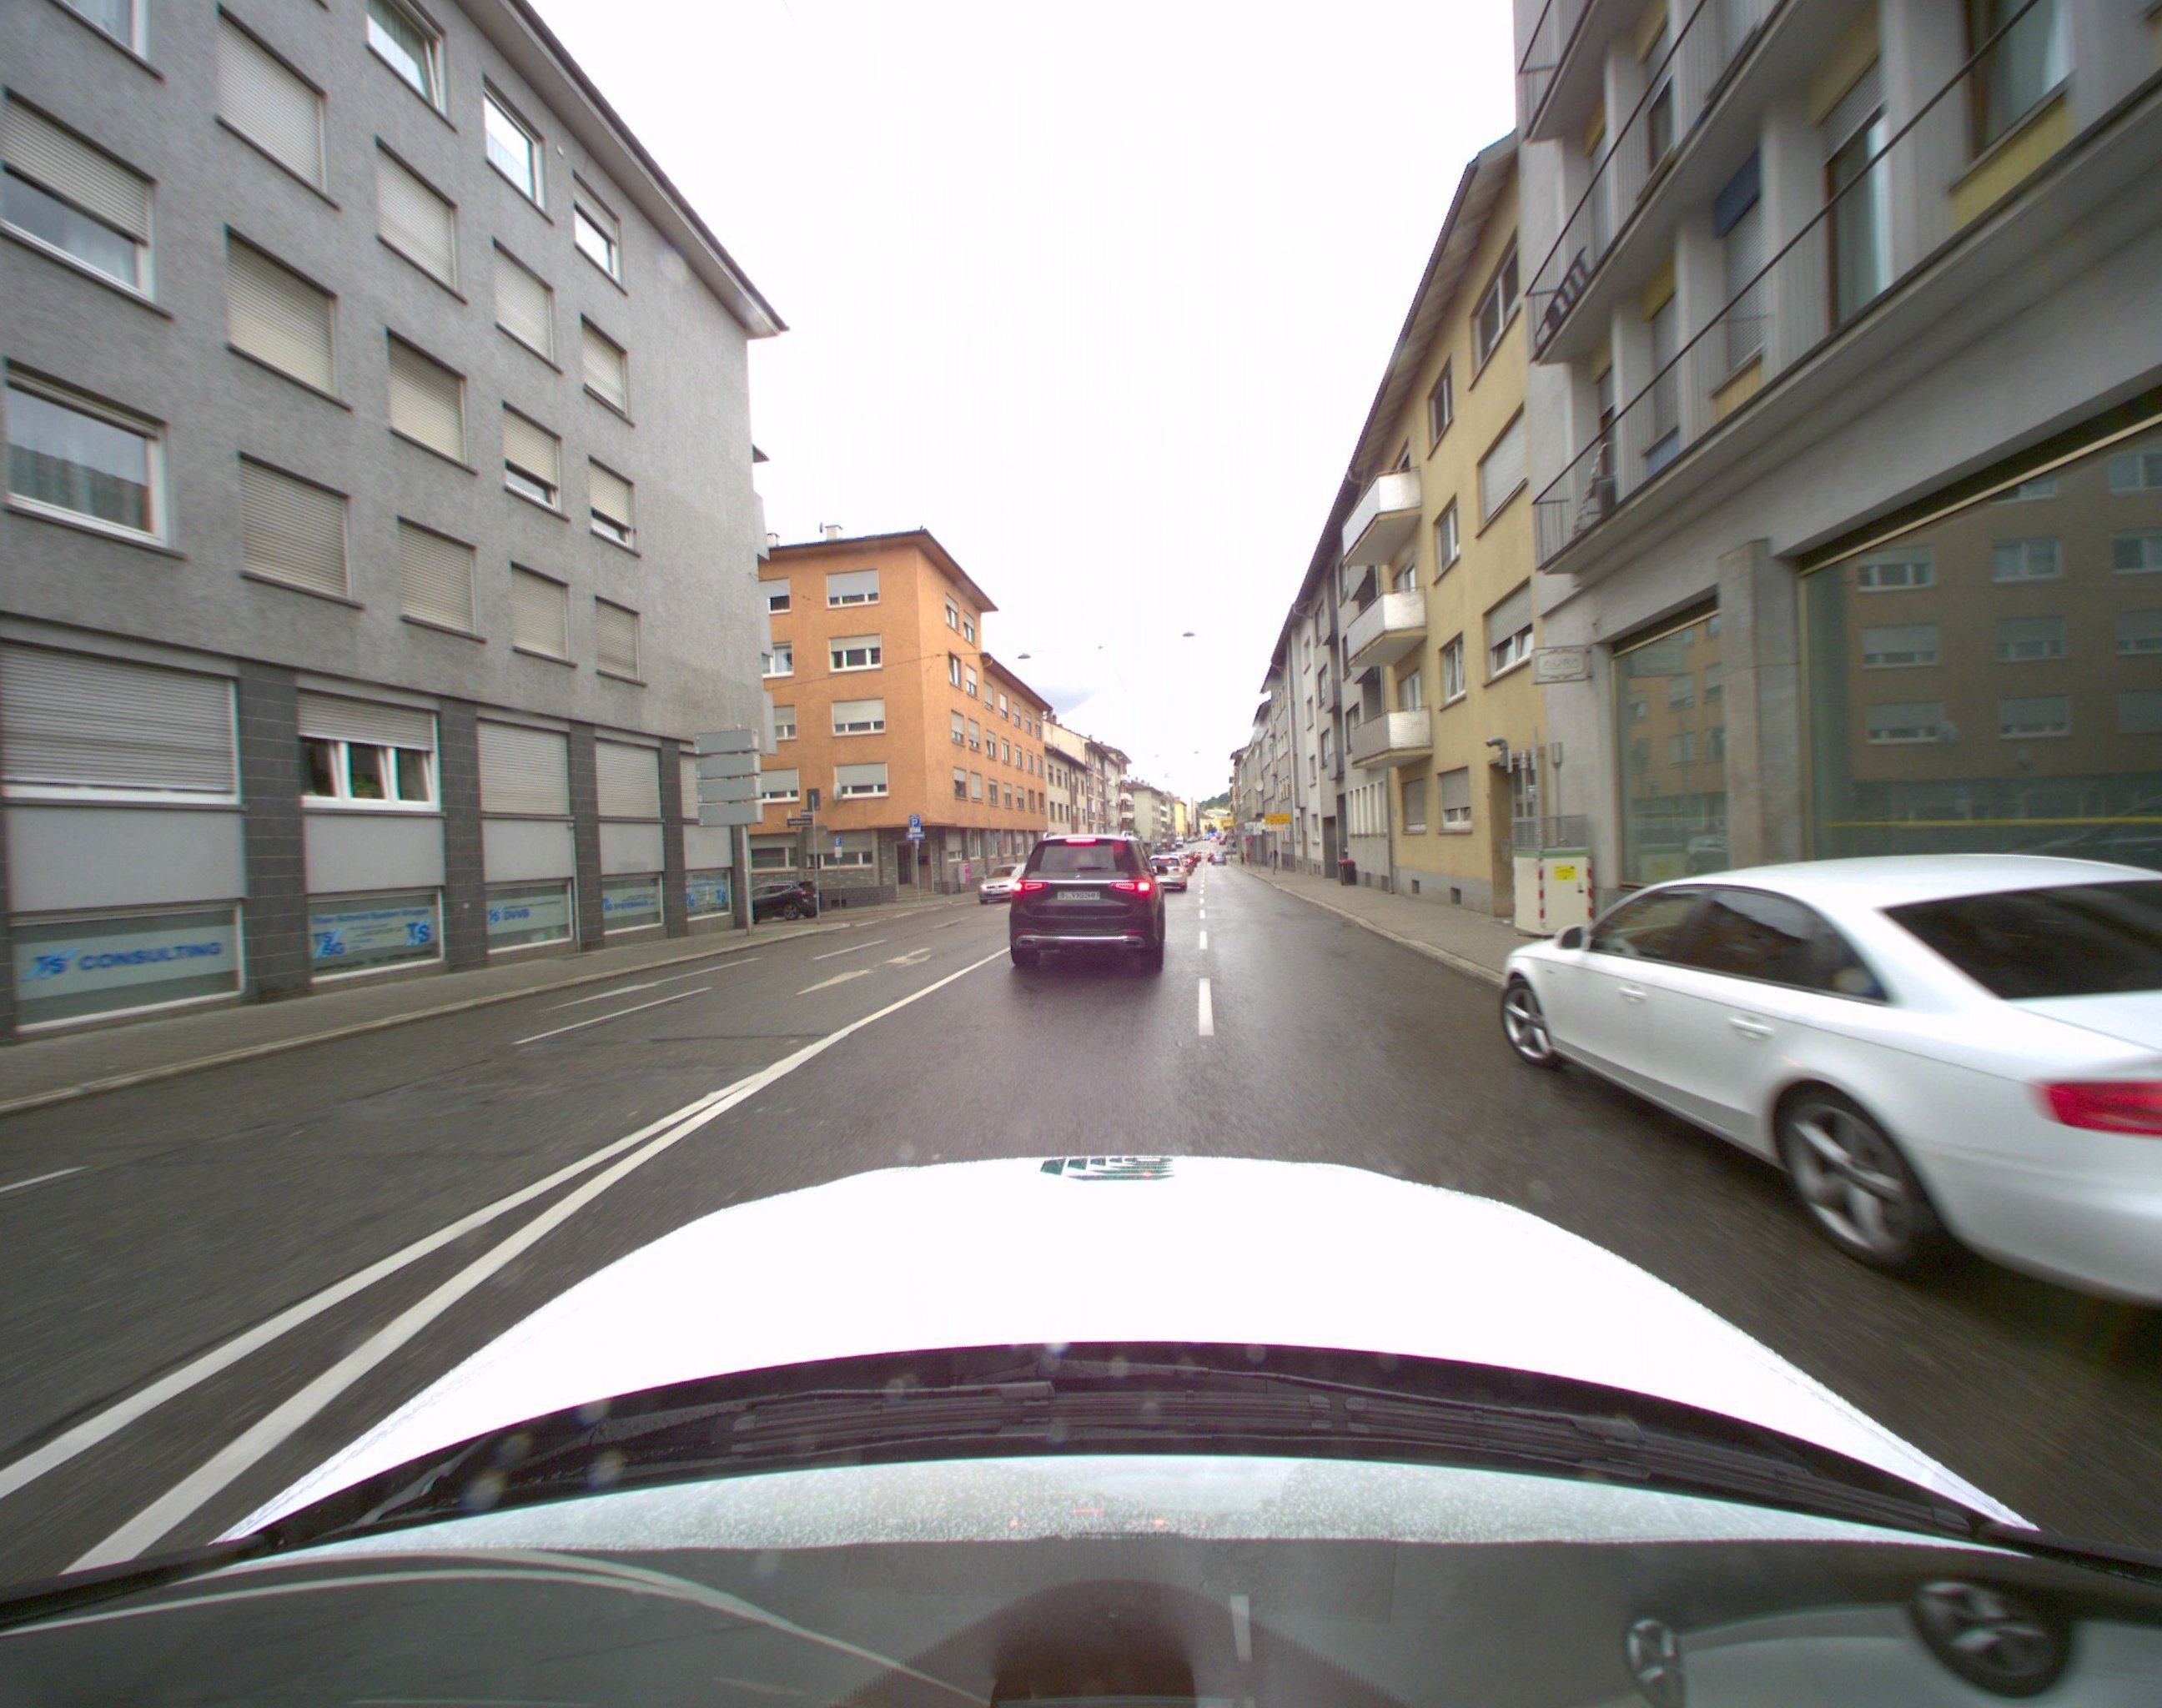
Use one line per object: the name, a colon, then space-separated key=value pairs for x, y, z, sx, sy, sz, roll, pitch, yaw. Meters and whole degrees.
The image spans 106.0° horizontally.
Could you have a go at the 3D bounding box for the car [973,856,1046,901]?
car: x=-2.747 y=0.930 z=32.331 sx=1.817 sy=1.416 sz=4.304 roll=-6 pitch=0 yaw=7

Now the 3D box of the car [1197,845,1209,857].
car: x=22.187 y=-0.594 z=148.385 sx=1.981 sy=2.013 sz=4.012 roll=-1 pitch=0 yaw=11

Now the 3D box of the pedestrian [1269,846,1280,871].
pedestrian: x=14.025 y=0.329 z=59.108 sx=0.651 sy=1.752 sz=0.744 roll=-5 pitch=-1 yaw=13

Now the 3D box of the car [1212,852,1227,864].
car: x=17.142 y=0.446 z=100.875 sx=1.725 sy=1.388 sz=4.592 roll=-1 pitch=0 yaw=7

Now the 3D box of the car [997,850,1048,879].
car: x=-3.129 y=0.546 z=44.495 sx=1.881 sy=1.458 sz=4.558 roll=-1 pitch=0 yaw=7

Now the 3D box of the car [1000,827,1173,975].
car: x=0.233 y=0.541 z=12.209 sx=2.067 sy=1.765 sz=4.617 roll=-1 pitch=1 yaw=4

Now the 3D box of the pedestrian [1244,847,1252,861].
pedestrian: x=18.662 y=-0.042 z=90.848 sx=0.815 sy=1.565 sz=0.902 roll=-1 pitch=0 yaw=11

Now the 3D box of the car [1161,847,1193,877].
car: x=6.914 y=0.533 z=58.277 sx=1.981 sy=2.013 sz=4.012 roll=-1 pitch=0 yaw=11

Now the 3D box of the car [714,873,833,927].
car: x=-12.554 y=1.848 z=33.365 sx=3.964 sy=1.652 sz=1.935 roll=-7 pitch=0 yaw=8

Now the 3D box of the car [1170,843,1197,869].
car: x=8.620 y=0.143 z=68.283 sx=1.981 sy=2.013 sz=4.012 roll=-1 pitch=0 yaw=11

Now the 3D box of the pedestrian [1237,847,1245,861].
pedestrian: x=17.885 y=0.006 z=90.983 sx=0.815 sy=1.565 sz=0.902 roll=-1 pitch=0 yaw=11

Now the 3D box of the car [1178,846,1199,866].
car: x=11.905 y=0.198 z=89.992 sx=1.981 sy=2.013 sz=4.012 roll=-1 pitch=0 yaw=11

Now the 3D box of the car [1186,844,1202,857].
car: x=16.977 y=-0.542 z=122.230 sx=1.981 sy=2.013 sz=4.012 roll=-1 pitch=0 yaw=11

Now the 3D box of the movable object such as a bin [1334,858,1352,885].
movable object such as a bin: x=9.860 y=0.643 z=30.644 sx=0.470 sy=0.962 sz=0.566 roll=-6 pitch=-1 yaw=10

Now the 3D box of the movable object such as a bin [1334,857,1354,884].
movable object such as a bin: x=10.064 y=0.613 z=31.169 sx=0.559 sy=0.962 sz=0.476 roll=-6 pitch=-1 yaw=10

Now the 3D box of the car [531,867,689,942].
car: x=-19.809 y=2.102 z=34.403 sx=5.320 sy=2.459 sz=1.984 roll=-7 pitch=0 yaw=2

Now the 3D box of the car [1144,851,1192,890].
car: x=3.667 y=0.658 z=34.398 sx=1.883 sy=1.510 sz=4.181 roll=0 pitch=1 yaw=6

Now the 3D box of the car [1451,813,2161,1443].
car: x=3.792 y=0.639 z=4.269 sx=1.884 sy=1.402 sz=4.617 roll=-8 pitch=0 yaw=6
